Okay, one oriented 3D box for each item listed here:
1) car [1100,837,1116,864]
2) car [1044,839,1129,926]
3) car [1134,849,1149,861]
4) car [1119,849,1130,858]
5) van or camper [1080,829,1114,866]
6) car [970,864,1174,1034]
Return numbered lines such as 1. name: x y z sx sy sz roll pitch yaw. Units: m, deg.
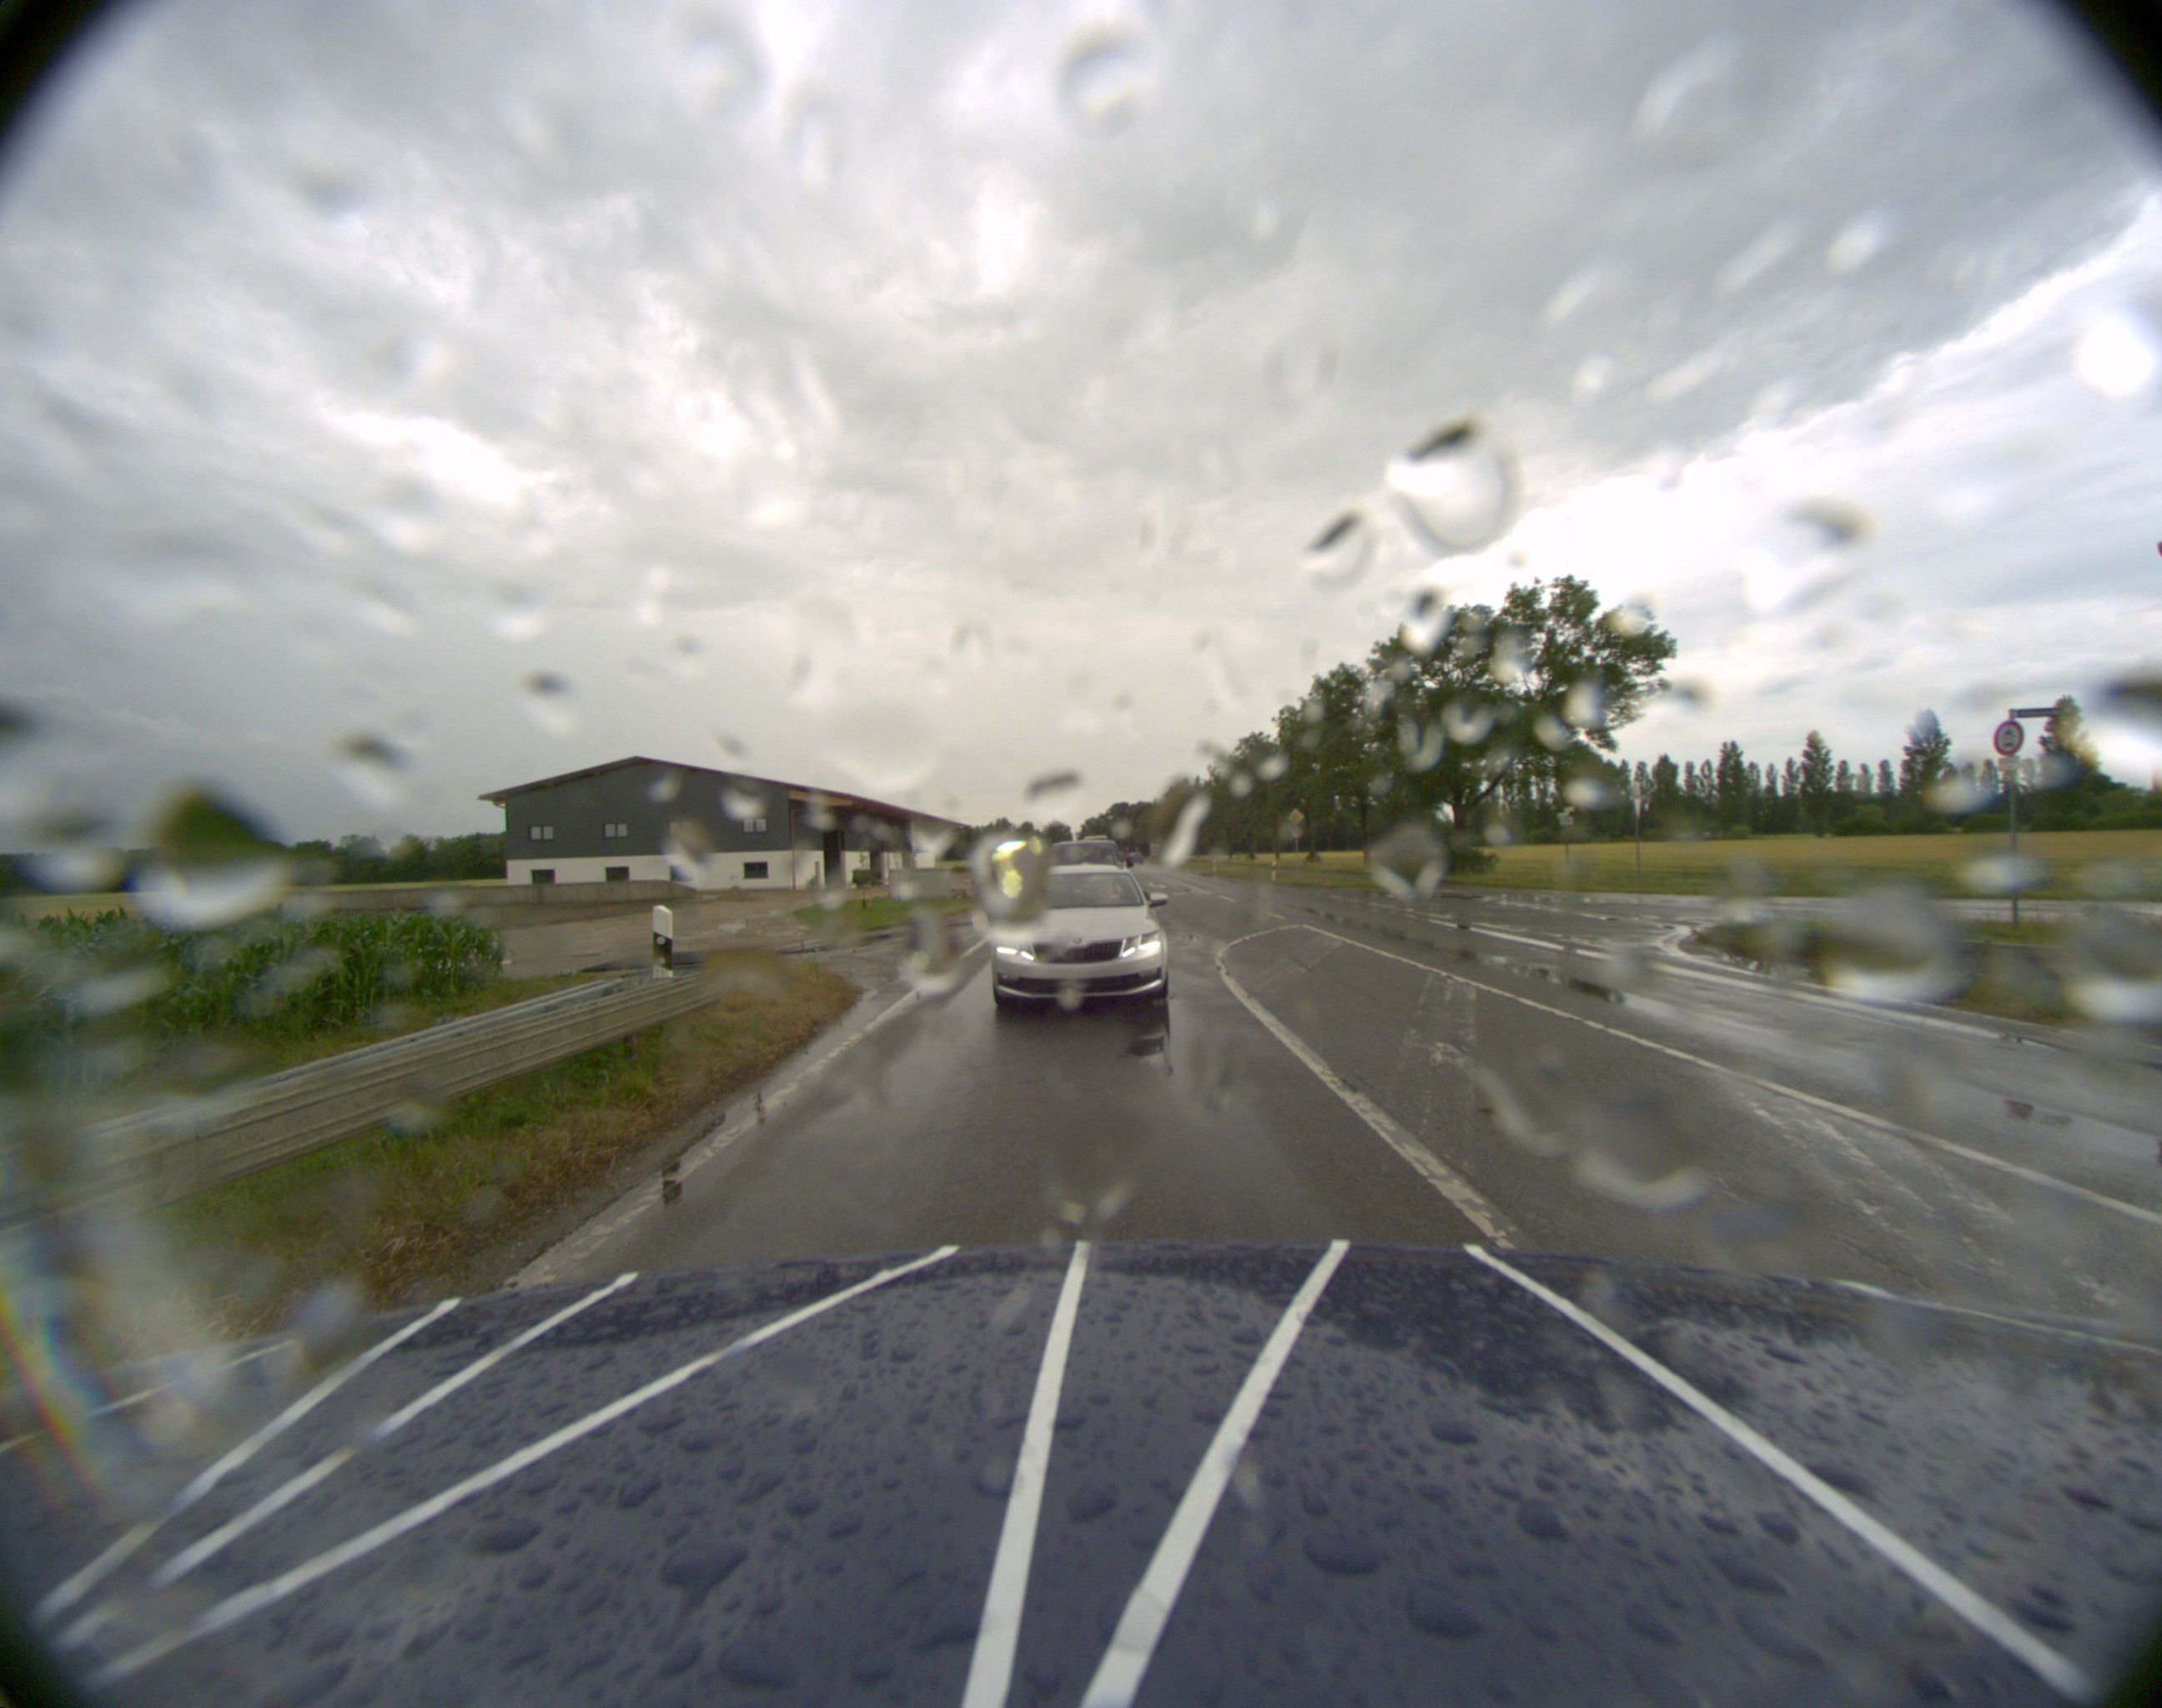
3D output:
1. car: 3.259 -0.430 92.893 1.771 3.134 4.028 -2 0 1
2. car: 0.198 0.628 19.333 1.841 1.888 4.576 -2 1 2
3. car: 8.278 0.149 104.061 1.773 1.514 4.141 0 0 2
4. car: 8.000 -0.101 140.055 1.949 1.571 4.443 -2 0 1
5. van or camper: 1.714 -0.667 81.204 3.342 3.624 8.373 -2 1 2
6. car: -0.014 0.883 9.067 1.770 1.365 4.576 -2 0 2
